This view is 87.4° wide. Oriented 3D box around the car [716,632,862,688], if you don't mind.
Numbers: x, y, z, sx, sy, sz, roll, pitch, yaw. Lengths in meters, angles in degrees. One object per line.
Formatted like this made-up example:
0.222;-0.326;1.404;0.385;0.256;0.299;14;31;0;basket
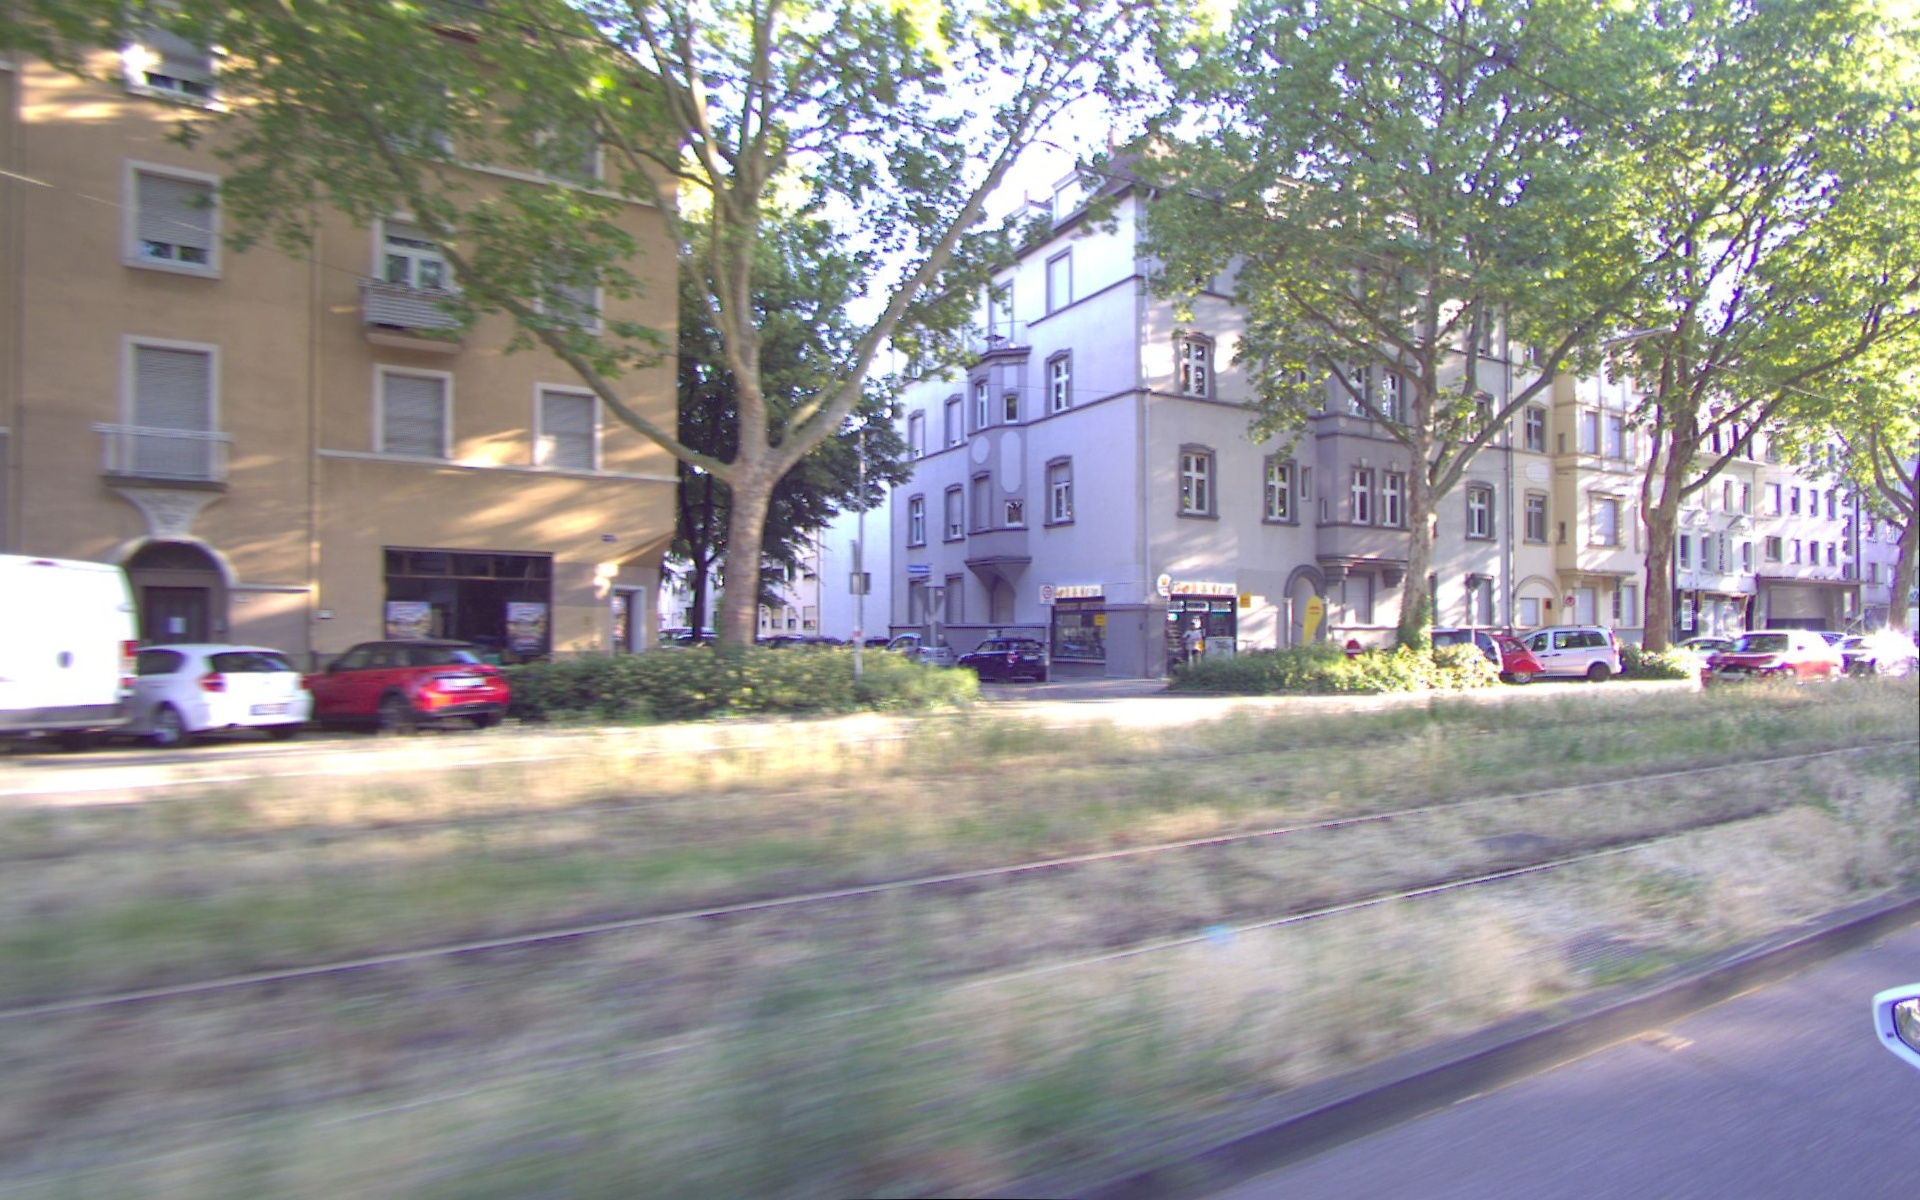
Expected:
-4.891;1.749;29.395;1.764;1.522;4.524;-1;-4;29;car

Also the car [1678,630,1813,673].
31.434;2.070;40.359;3.928;1.573;1.853;-4;-3;29;car

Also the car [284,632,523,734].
-9.072;1.304;16.357;3.643;1.485;1.734;-2;-2;28;car

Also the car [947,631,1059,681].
1.368;1.813;33.433;1.795;1.528;3.965;1;-2;-32;car

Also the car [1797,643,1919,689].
31.549;2.278;34.898;4.853;1.479;1.743;2;-2;-22;car

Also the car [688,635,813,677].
-7.092;1.871;34.502;1.764;1.354;4.410;-1;-2;29;car

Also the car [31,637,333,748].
-11.339;1.272;14.689;3.636;1.418;1.737;0;-1;18;car

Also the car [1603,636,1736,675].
26.610;2.067;37.837;3.927;1.374;1.583;0;-2;29;car

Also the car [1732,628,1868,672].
34.608;2.066;41.516;3.928;1.721;1.854;-2;-3;29;car

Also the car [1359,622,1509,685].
14.056;1.560;30.025;3.922;1.746;1.784;0;-2;21;car

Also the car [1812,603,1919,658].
47.387;1.533;50.541;6.855;2.713;2.176;-1;-2;40;car

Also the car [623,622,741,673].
-11.114;1.881;40.157;4.356;1.957;1.786;1;-2;-24;car

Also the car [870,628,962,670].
-1.742;1.846;38.588;1.795;1.528;3.965;1;-2;-32;car

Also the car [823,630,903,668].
-4.165;2.041;42.616;1.795;1.528;3.965;1;-2;-32;car

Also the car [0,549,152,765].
-13.797;0.702;13.357;5.399;2.562;2.127;0;-1;18;car

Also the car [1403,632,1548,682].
16.198;1.772;31.751;3.922;1.467;1.586;0;-2;21;car

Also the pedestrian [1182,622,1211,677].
7.656;1.597;32.572;0.663;1.782;0.625;1;-2;-25;pedestrian

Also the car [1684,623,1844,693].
19.755;1.375;24.658;3.953;1.595;1.782;1;-2;-30;car

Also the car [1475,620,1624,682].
19.445;1.656;33.344;3.920;1.906;2.001;0;-2;18;car
